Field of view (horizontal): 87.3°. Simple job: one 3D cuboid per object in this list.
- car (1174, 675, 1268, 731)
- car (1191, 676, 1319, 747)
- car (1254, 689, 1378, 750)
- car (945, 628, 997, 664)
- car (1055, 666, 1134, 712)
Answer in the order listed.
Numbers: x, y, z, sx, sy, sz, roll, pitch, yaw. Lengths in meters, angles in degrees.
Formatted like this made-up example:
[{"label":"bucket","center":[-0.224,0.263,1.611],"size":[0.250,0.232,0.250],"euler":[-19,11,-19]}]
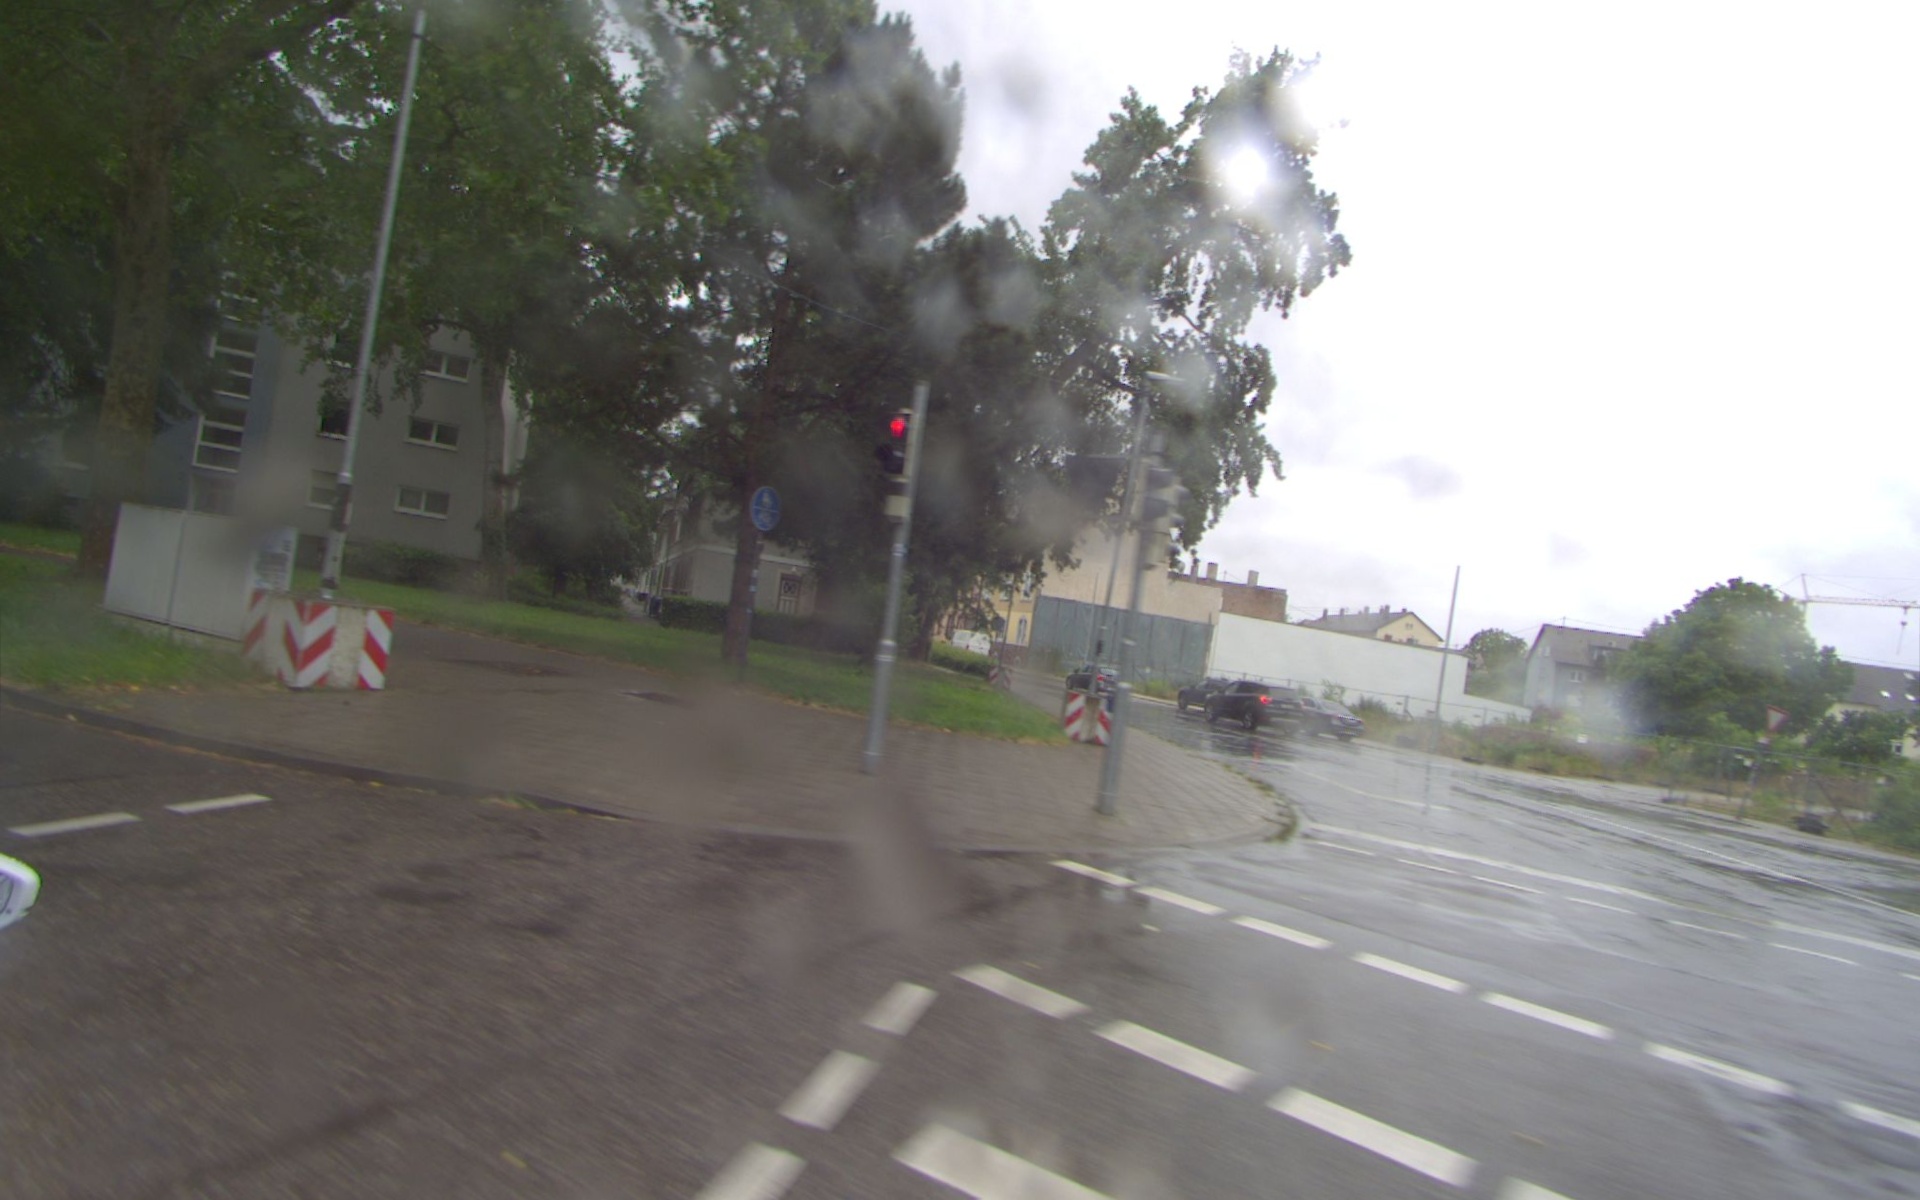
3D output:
[{"label":"car","center":[11.571,4.551,44.905],"size":[1.857,1.829,4.072],"euler":[10,-2,-20]},{"label":"car","center":[10.257,3.868,35.370],"size":[1.974,1.763,4.287],"euler":[10,-3,-20]},{"label":"car","center":[13.621,4.551,38.817],"size":[1.954,1.566,4.511],"euler":[10,-3,-20]},{"label":"car","center":[0.806,3.490,77.220],"size":[2.324,2.232,4.597],"euler":[9,-2,-18]},{"label":"car","center":[6.561,4.356,49.514],"size":[1.974,1.620,4.072],"euler":[10,-3,-20]}]
